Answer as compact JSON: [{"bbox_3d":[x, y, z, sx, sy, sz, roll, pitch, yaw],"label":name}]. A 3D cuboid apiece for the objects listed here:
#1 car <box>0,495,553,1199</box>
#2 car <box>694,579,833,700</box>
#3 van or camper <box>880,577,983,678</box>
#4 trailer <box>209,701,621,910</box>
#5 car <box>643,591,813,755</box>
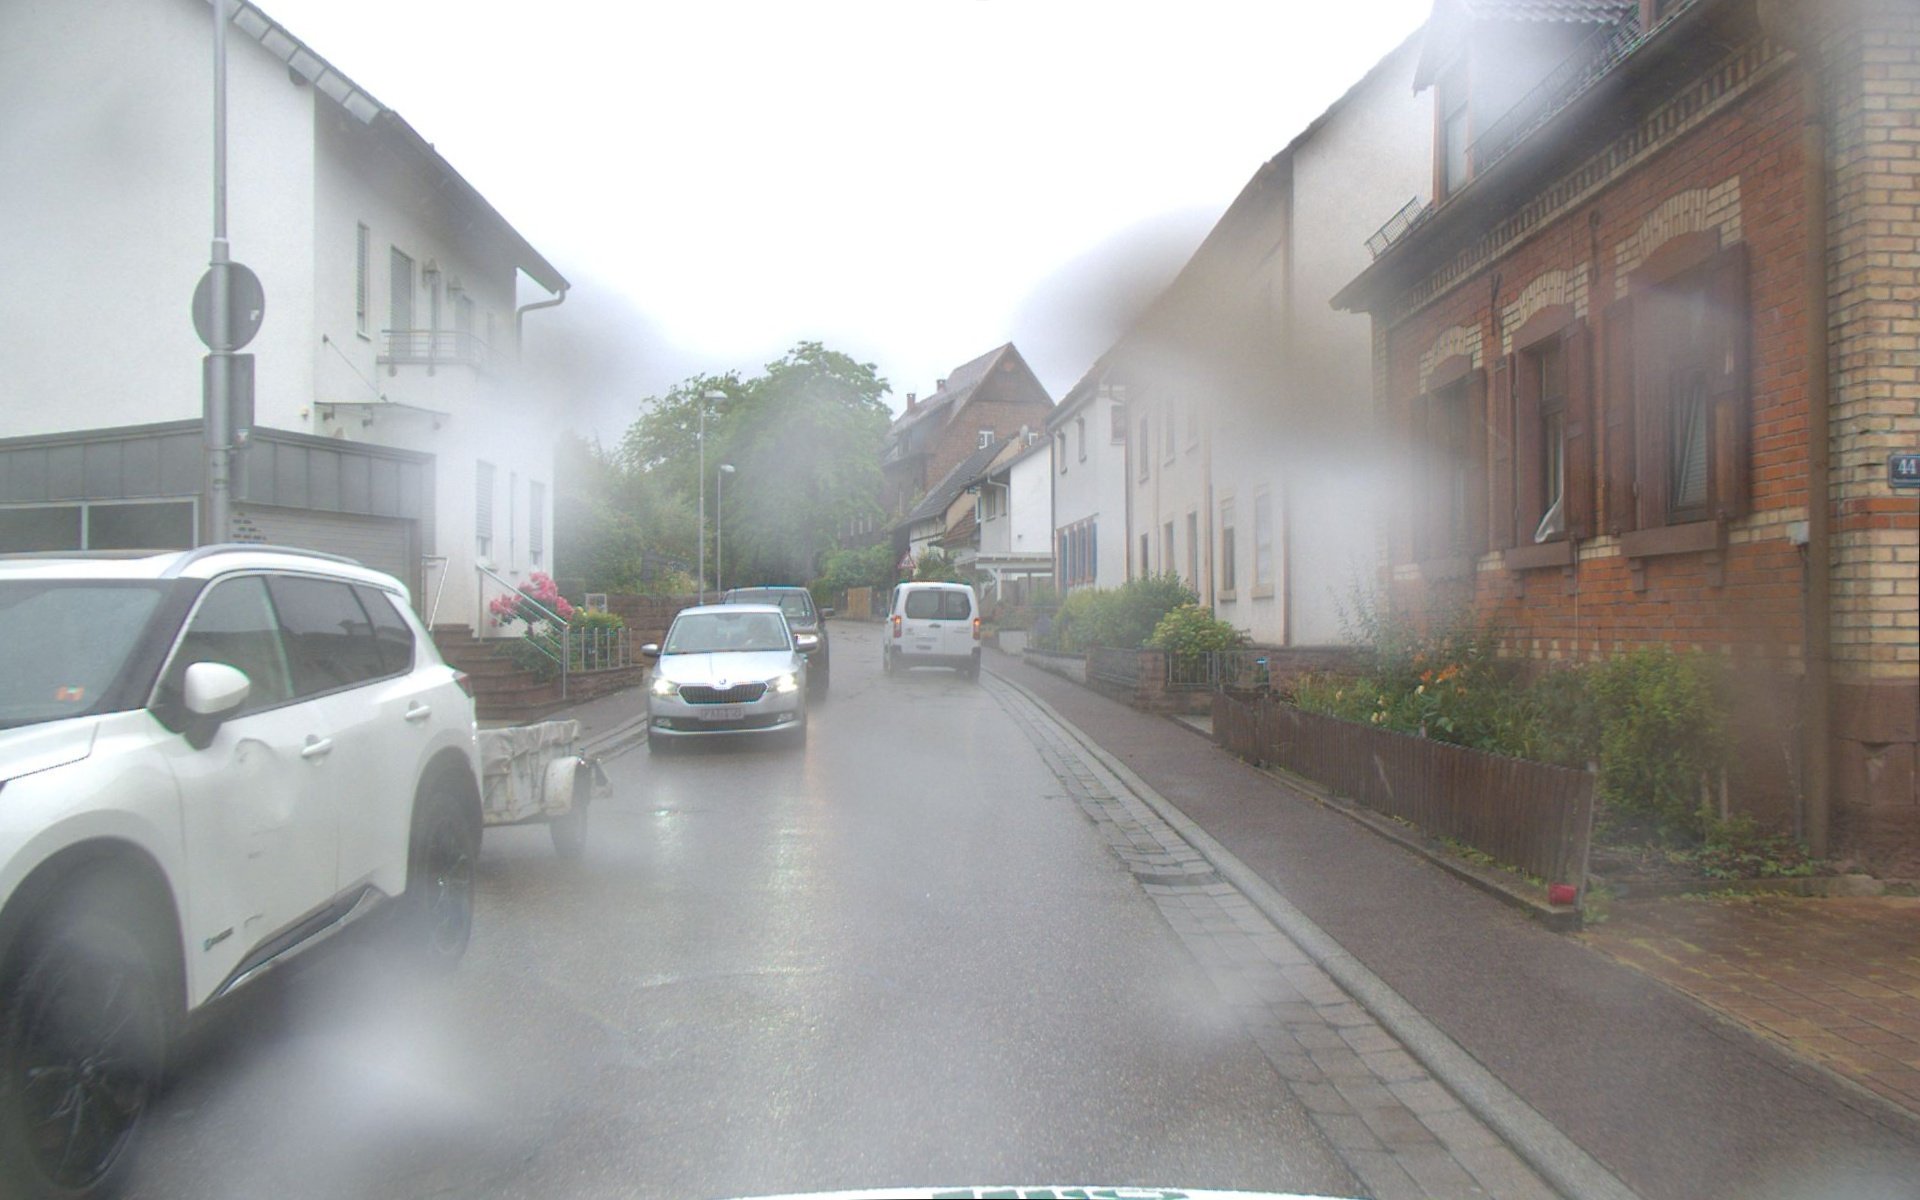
[{"bbox_3d":[-2.818,0.679,5.567,1.712,1.665,4.418,-2,-1,0],"label":"car"},{"bbox_3d":[-3.020,0.553,26.279,1.954,1.707,4.779,-1,0,-4],"label":"car"},{"bbox_3d":[-0.563,0.510,32.996,1.904,1.883,3.999,0,0,-1],"label":"van or camper"},{"bbox_3d":[-2.888,1.066,9.277,1.453,0.843,2.675,-2,-1,-1],"label":"trailer"},{"bbox_3d":[-2.487,0.702,18.298,1.656,1.592,3.929,0,0,-6],"label":"car"}]
